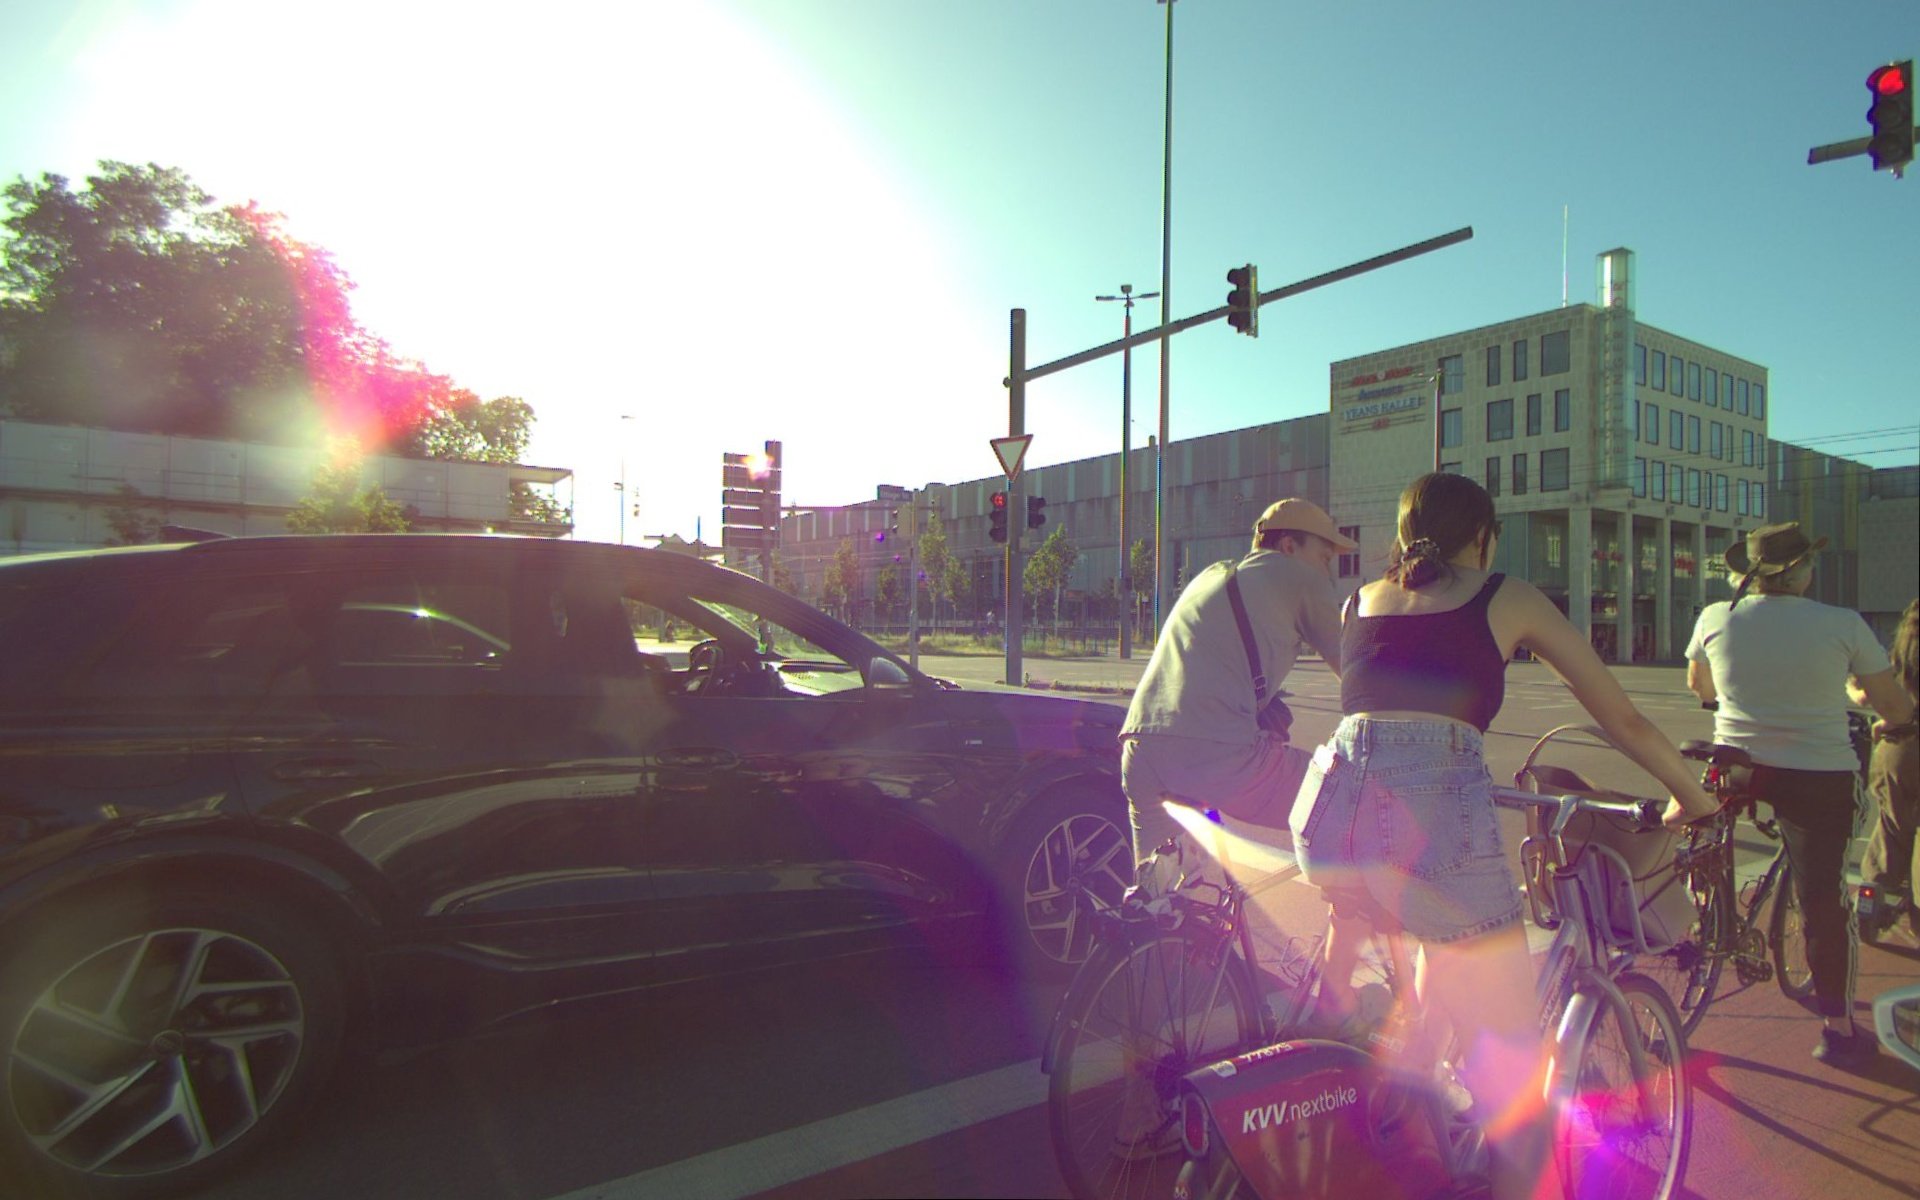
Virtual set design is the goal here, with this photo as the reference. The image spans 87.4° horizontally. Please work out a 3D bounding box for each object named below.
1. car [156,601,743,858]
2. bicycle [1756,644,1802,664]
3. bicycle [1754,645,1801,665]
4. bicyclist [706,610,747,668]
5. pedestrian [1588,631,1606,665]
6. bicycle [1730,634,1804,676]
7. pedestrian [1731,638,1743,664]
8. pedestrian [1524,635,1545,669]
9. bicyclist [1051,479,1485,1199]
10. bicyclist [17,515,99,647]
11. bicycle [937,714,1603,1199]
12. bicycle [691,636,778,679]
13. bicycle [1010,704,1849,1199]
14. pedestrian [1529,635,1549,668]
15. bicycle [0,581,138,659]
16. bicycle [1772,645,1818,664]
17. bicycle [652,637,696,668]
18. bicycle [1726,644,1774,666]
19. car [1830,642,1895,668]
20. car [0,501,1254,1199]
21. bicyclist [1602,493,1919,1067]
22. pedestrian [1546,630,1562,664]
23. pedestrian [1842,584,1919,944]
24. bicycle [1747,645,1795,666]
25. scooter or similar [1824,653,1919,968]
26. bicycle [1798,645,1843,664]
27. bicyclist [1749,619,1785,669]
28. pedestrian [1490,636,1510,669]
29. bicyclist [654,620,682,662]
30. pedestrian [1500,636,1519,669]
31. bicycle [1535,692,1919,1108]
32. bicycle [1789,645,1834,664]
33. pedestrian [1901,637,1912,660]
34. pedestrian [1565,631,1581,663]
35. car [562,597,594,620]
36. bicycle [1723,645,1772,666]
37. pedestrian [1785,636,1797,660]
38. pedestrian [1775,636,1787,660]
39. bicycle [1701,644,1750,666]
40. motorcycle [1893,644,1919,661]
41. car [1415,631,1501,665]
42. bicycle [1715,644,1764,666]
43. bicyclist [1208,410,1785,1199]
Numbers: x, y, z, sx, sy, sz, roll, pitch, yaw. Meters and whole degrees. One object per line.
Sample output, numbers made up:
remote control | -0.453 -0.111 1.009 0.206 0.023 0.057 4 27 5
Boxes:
car | -3.585 0.790 7.498 3.562 1.505 1.485 1 0 -30
bicycle | 54.282 3.580 66.568 0.605 1.238 2.295 1 -1 -31
bicycle | 52.902 3.531 65.020 0.605 1.238 2.295 1 -1 -31
bicyclist | -8.413 1.395 36.265 1.078 2.040 0.961 2 0 15
pedestrian | 35.873 2.695 56.585 0.784 1.868 0.863 0 -1 28
bicycle | 24.118 1.627 30.049 1.618 1.170 0.497 2 0 23
pedestrian | 53.250 3.515 68.860 0.641 1.742 0.447 1 -1 -27
pedestrian | 33.397 3.008 58.378 0.710 1.910 0.779 2 0 -36
bicyclist | 0.803 0.559 2.676 0.833 1.627 0.712 1 0 -32
bicyclist | -22.052 -0.441 24.580 1.292 3.144 0.835 2 0 -32
bicycle | 0.940 0.953 2.773 1.949 1.124 0.643 1 0 -33
bicycle | -8.106 2.040 36.164 2.905 1.388 0.970 2 0 16
bicycle | 1.010 0.886 1.968 1.811 1.234 0.612 1 0 -33
pedestrian | 34.407 3.045 59.691 0.710 1.910 0.779 2 0 -36
bicycle | -22.129 0.476 24.542 3.047 1.835 0.835 0 1 -32
bicycle | 55.520 3.619 66.831 0.605 1.238 2.295 1 -1 -31
bicycle | -14.167 2.584 49.666 0.962 1.388 2.930 2 0 -40
bicycle | 48.697 3.388 61.961 0.605 1.238 2.295 1 -1 -31
car | 49.784 3.063 55.411 3.956 1.359 1.621 2 -4 -32
car | -1.154 0.632 3.873 4.630 1.656 1.760 1 0 -32
bicyclist | 2.869 0.556 3.556 0.856 1.743 0.657 2 0 -30
pedestrian | 34.242 2.684 57.863 0.705 1.910 0.785 2 0 33
pedestrian | 4.633 0.762 4.809 0.568 1.654 0.543 2 0 -45
bicycle | 51.278 3.474 63.553 0.605 1.238 2.295 1 -1 -31
scooter or similar | 4.492 0.925 4.717 1.186 1.311 0.541 2 0 -45
bicycle | 59.824 3.765 69.854 0.605 1.238 2.295 1 -1 -31
bicyclist | 24.145 1.303 30.049 0.700 1.456 0.497 2 0 23
pedestrian | 32.163 3.130 59.870 0.710 1.910 0.779 2 0 -36
bicyclist | -14.588 2.045 50.187 0.985 2.040 1.088 2 0 -40
pedestrian | 33.224 3.166 60.691 0.780 1.910 0.709 2 0 -37
bicycle | 2.879 0.961 3.682 1.810 1.171 0.482 2 0 -31
bicycle | 58.853 3.734 69.430 0.605 1.238 2.295 1 -1 -31
pedestrian | 71.098 3.670 75.457 0.579 1.702 0.516 1 1 -43
pedestrian | 35.631 2.731 58.426 0.784 1.868 0.862 0 -1 32
car | -32.936 0.730 86.516 1.785 1.908 3.964 2 0 -33
bicycle | 48.047 3.365 61.340 0.605 1.238 2.295 1 -1 -31
pedestrian | 60.056 3.467 72.565 0.602 1.702 0.549 1 0 -40
pedestrian | 59.640 3.470 72.975 0.610 1.702 0.565 1 0 -39
bicycle | 45.763 3.289 60.085 0.605 1.238 2.295 1 -1 -31
motorcycle | 70.740 3.906 74.857 0.508 1.223 1.786 1 0 -44
car | 27.090 2.582 54.776 1.643 1.606 3.871 2 0 -36
bicycle | 46.965 3.328 60.529 0.605 1.238 2.295 1 -1 -31
bicyclist | 1.042 0.527 1.976 0.866 1.600 0.638 1 0 -33
